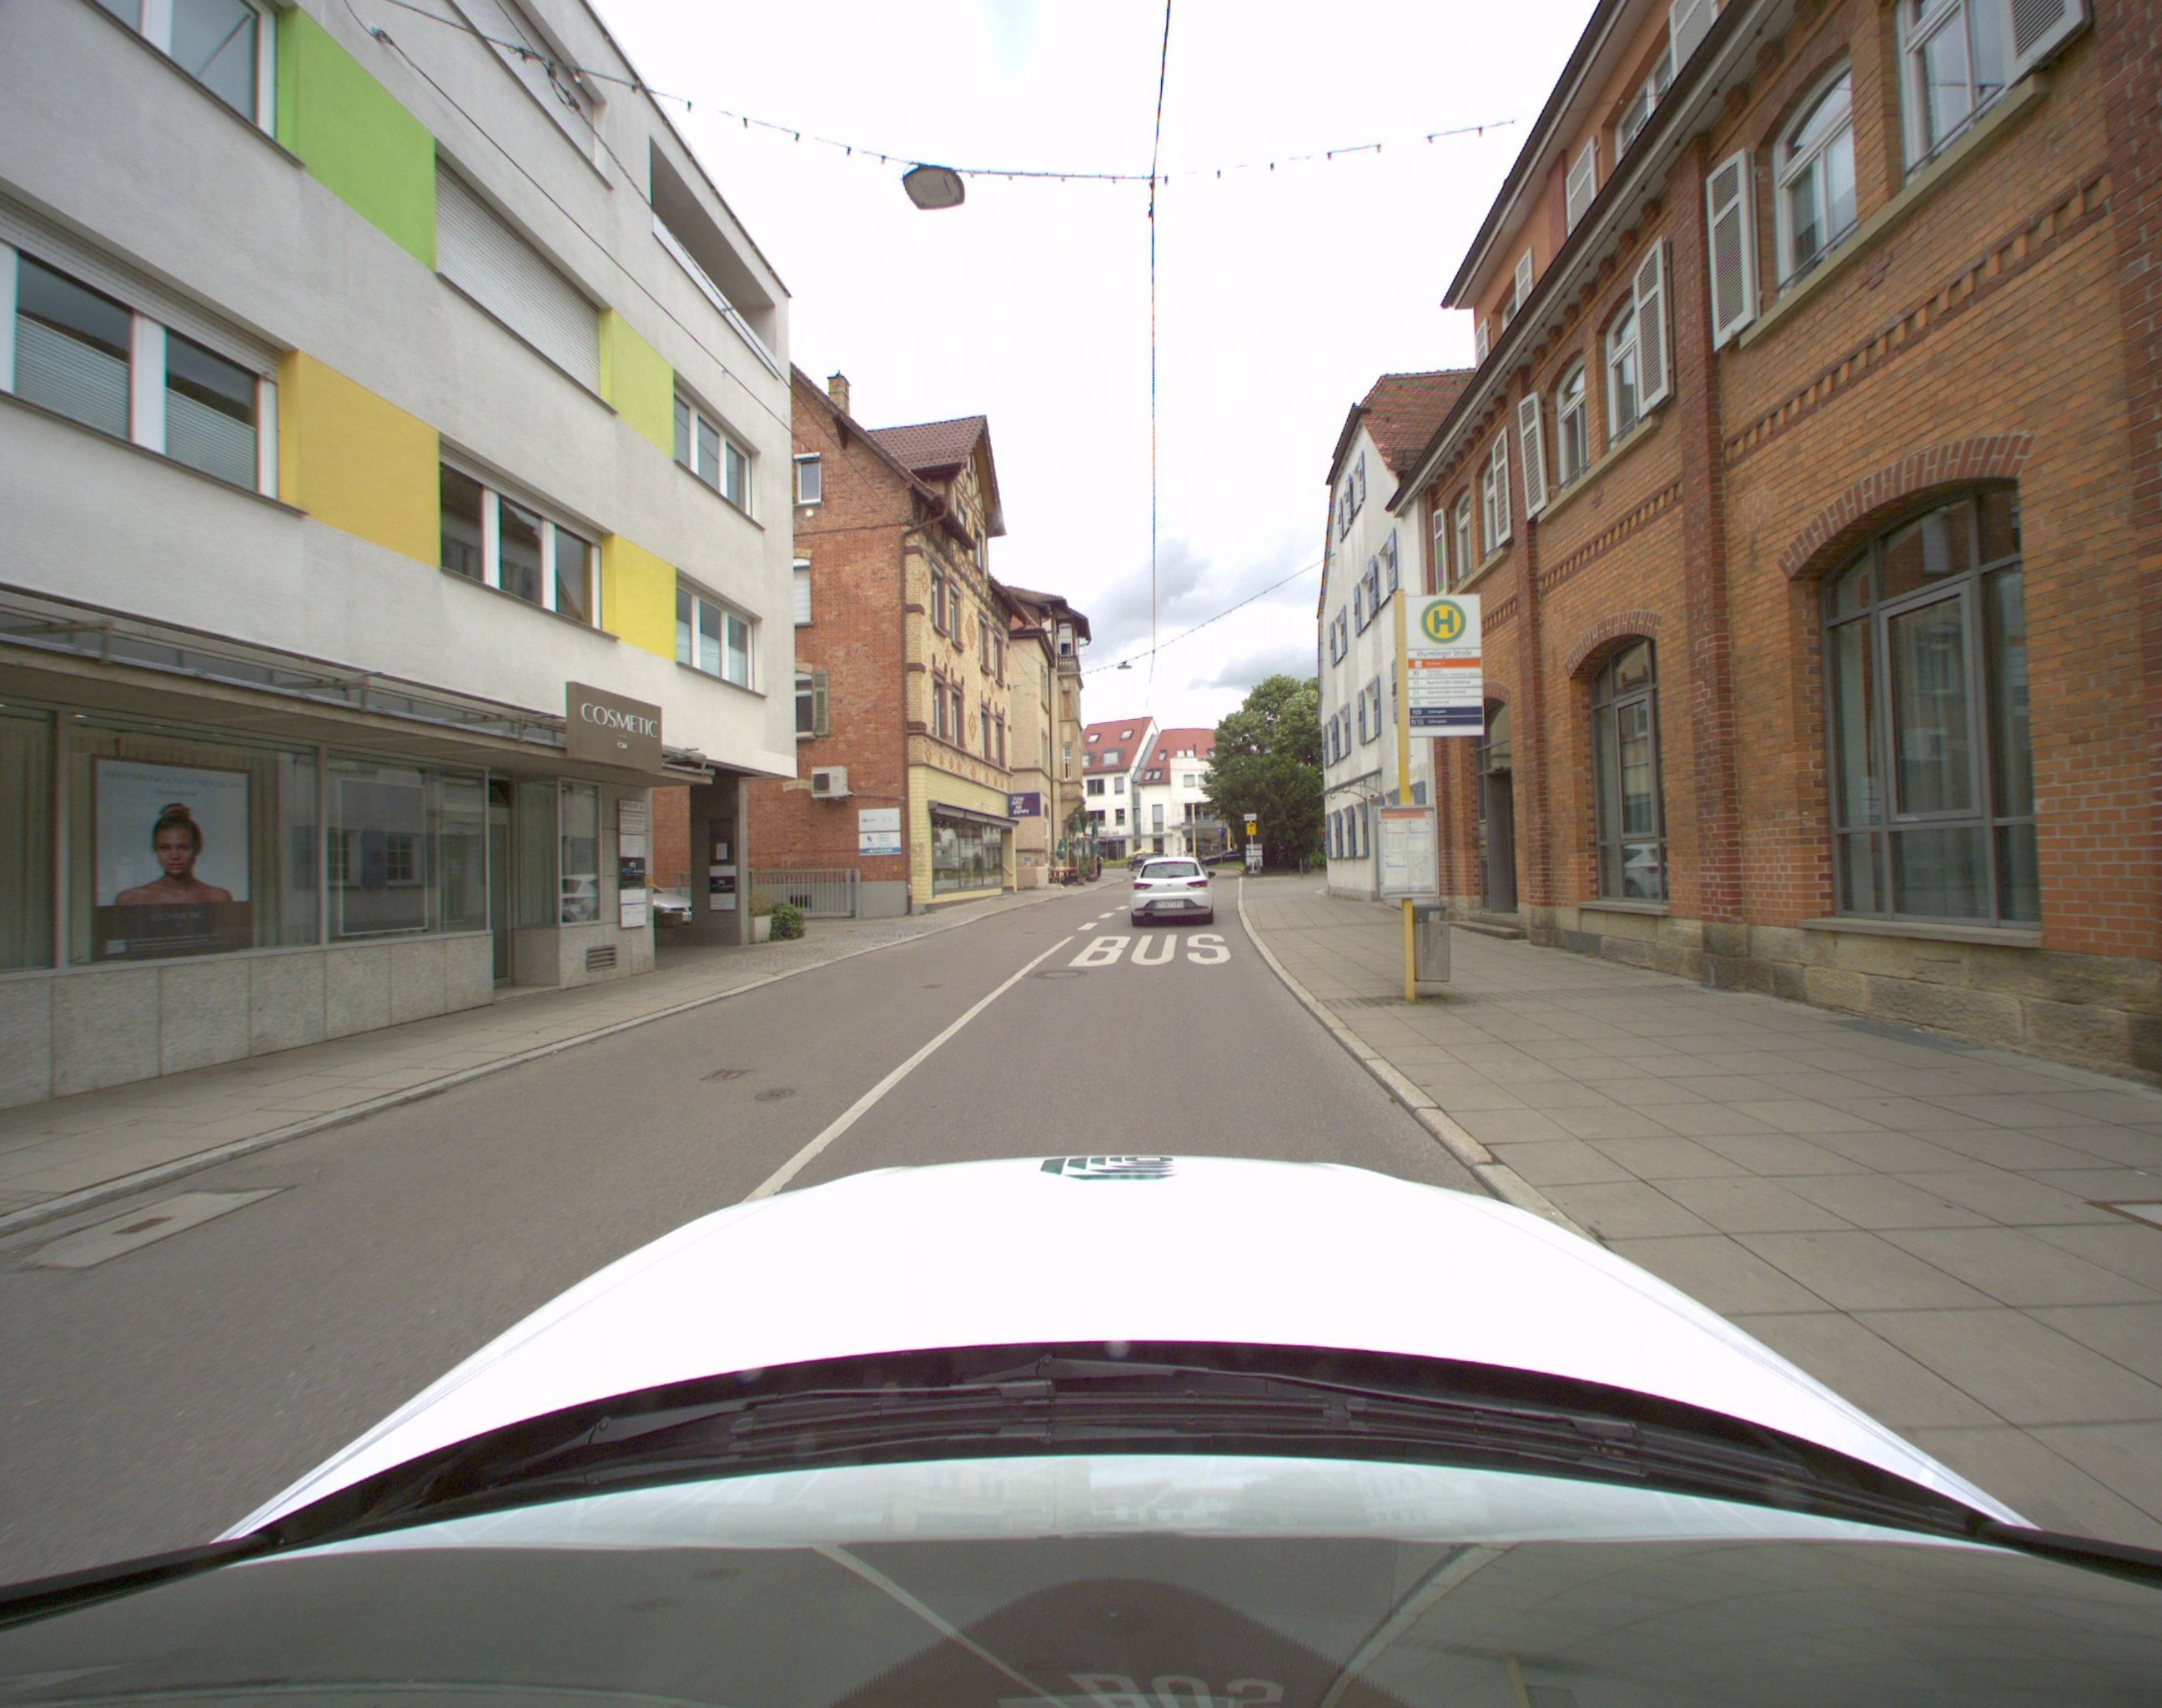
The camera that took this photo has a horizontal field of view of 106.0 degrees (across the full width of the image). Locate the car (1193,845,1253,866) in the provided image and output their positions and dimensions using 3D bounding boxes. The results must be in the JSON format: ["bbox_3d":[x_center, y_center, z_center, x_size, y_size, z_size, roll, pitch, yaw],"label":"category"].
[{"bbox_3d":[11.899,0.124,68.754,4.876,1.557,2.254,-2,0,7],"label":"car"}]

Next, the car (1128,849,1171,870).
[{"bbox_3d":[5.245,0.415,63.071,1.818,1.480,3.843,-2,1,-21],"label":"car"}]

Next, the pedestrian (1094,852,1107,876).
[{"bbox_3d":[1.297,0.645,54.042,0.831,1.552,0.627,-2,-1,1],"label":"pedestrian"}]

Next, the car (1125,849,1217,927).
[{"bbox_3d":[2.086,0.684,18.404,1.801,1.480,3.879,-2,1,8],"label":"car"}]

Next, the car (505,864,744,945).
[{"bbox_3d":[-9.664,1.046,17.464,3.969,1.530,2.002,-1,0,4],"label":"car"}]
